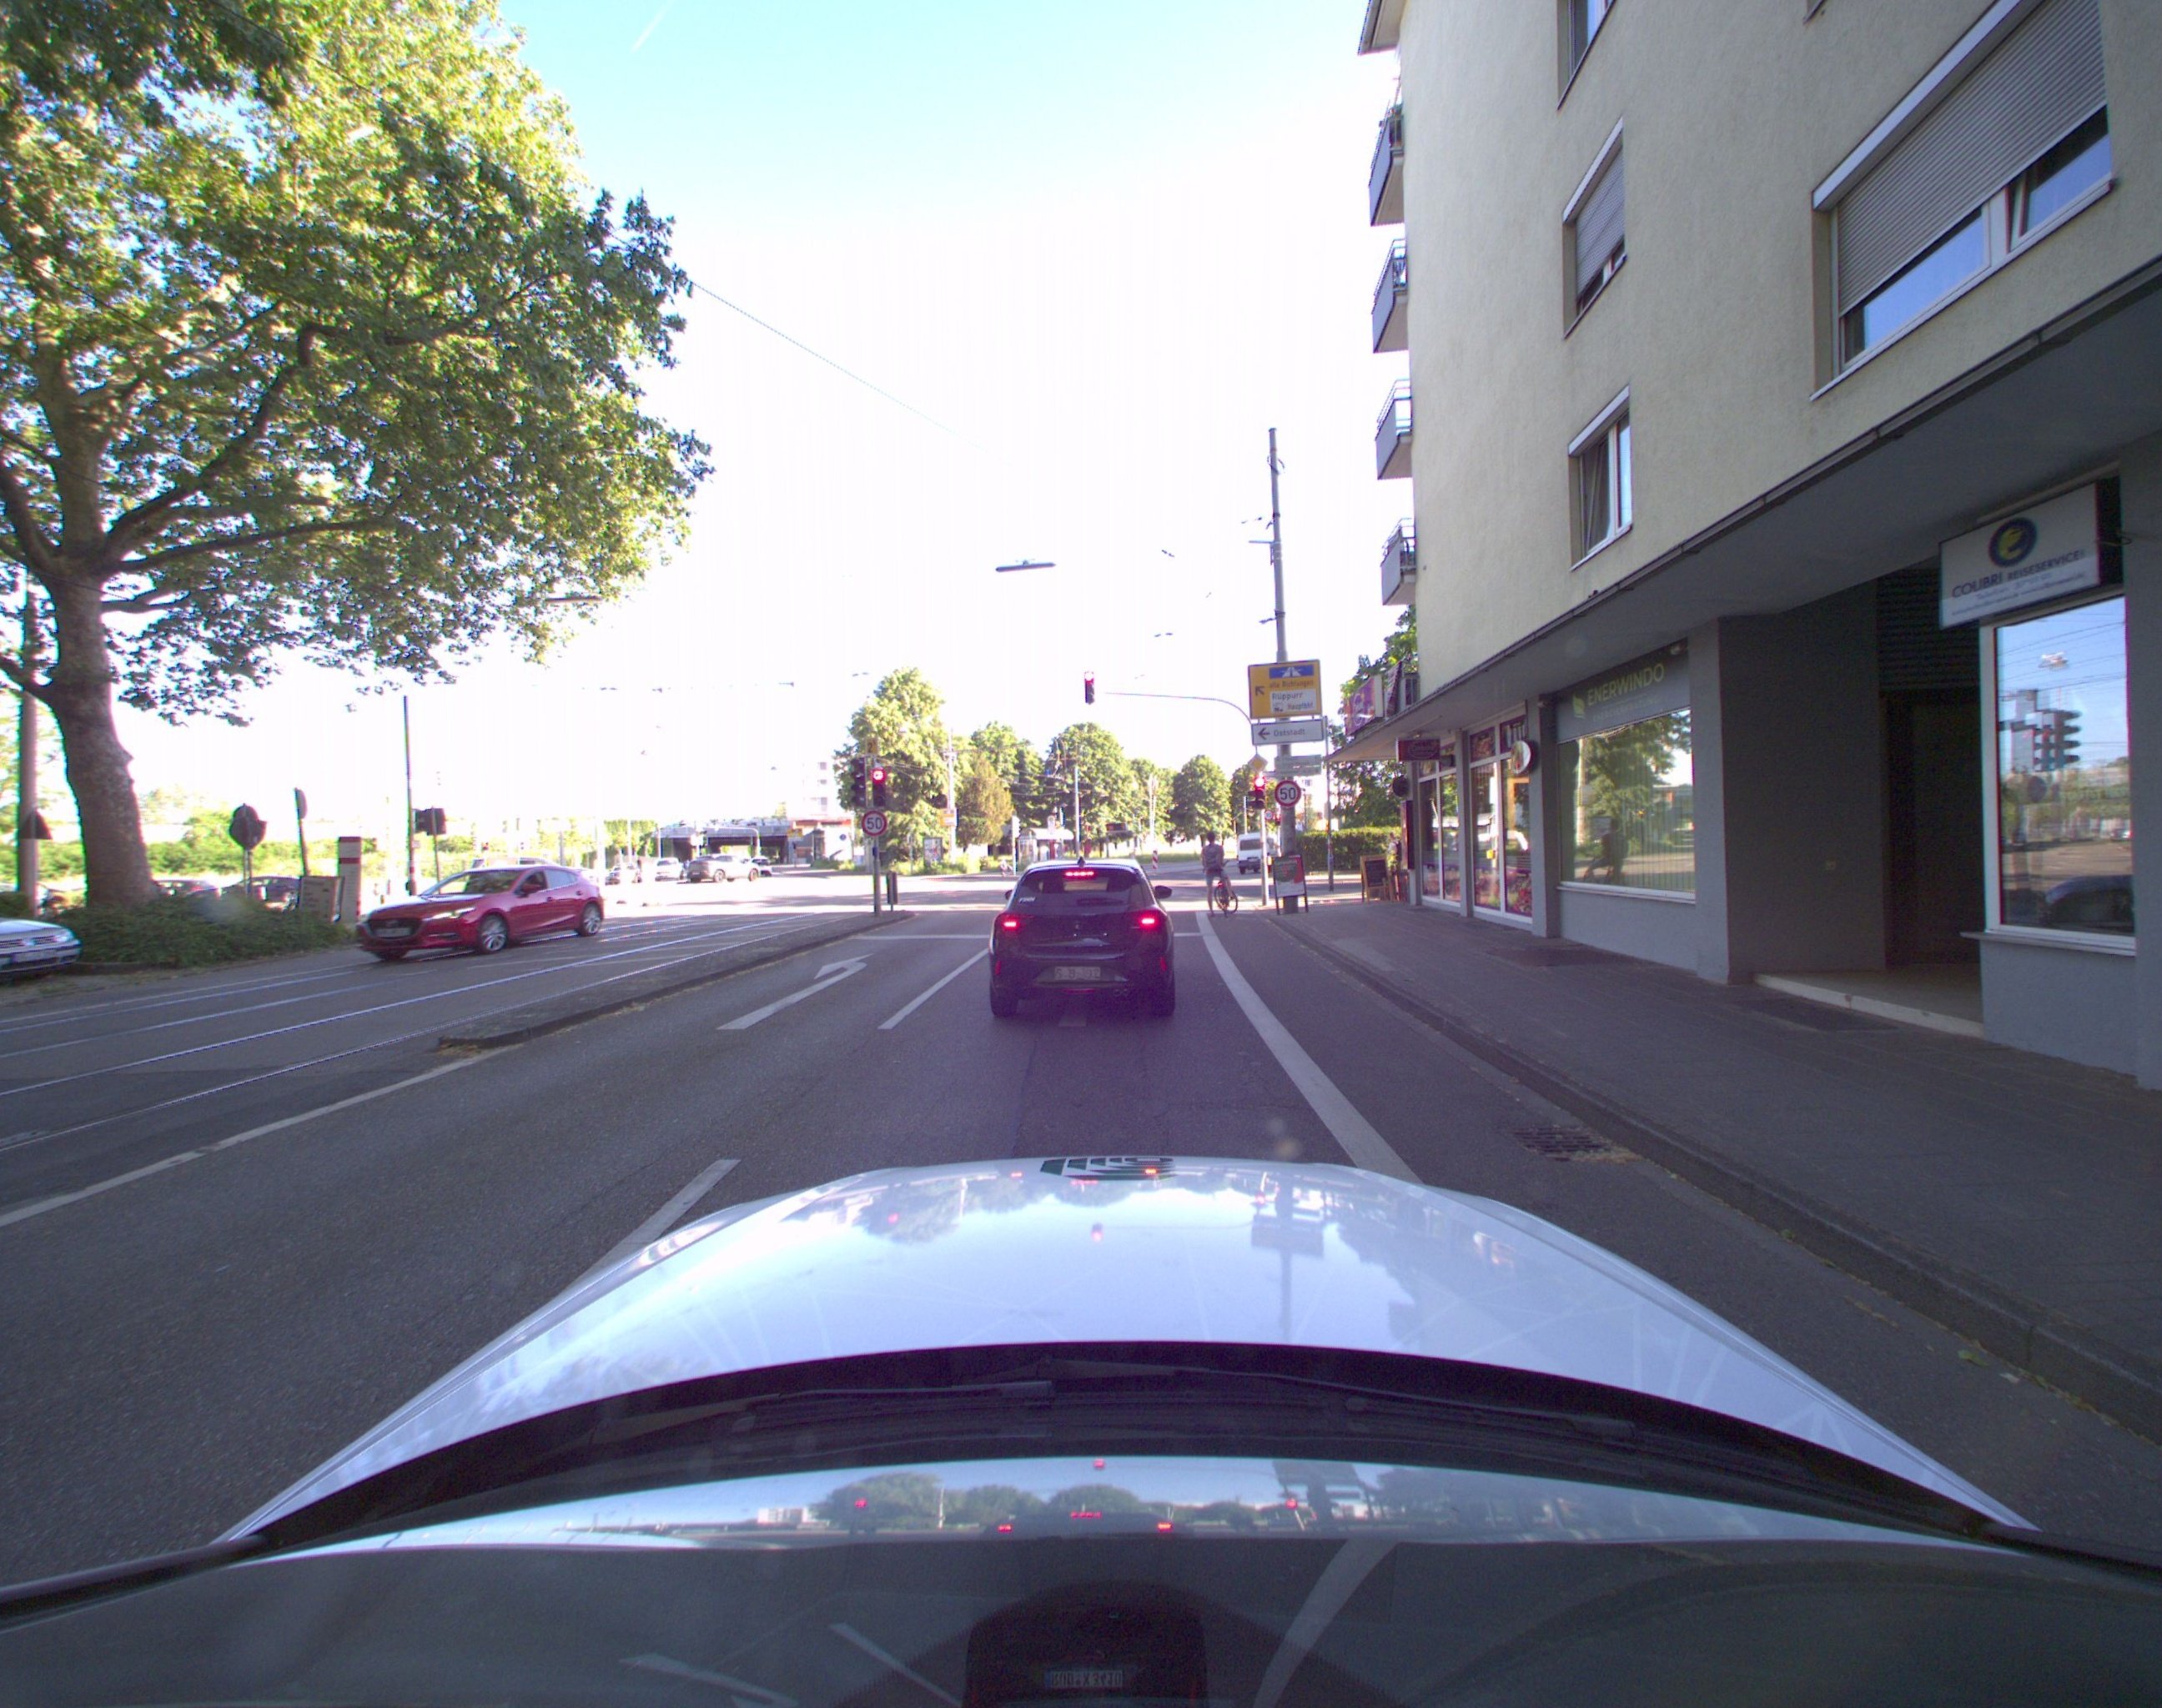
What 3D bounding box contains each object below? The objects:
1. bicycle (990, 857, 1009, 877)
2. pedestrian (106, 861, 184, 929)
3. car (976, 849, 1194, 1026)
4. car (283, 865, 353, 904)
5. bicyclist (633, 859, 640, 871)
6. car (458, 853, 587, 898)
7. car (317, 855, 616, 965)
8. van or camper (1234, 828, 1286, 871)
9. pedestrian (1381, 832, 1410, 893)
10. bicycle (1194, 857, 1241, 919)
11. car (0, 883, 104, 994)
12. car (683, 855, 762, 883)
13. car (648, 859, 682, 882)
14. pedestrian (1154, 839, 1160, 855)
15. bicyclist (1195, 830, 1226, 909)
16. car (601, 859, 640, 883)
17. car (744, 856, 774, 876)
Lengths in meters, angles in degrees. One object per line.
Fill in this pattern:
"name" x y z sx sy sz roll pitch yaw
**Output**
"bicycle" -4.635 0.745 46.544 0.793 1.064 2.186 -2 0 2
"pedestrian" -23.312 1.012 20.292 0.842 1.647 0.931 0 -1 1
"car" 0.098 0.700 8.920 1.833 1.462 3.985 -1 0 2
"car" -36.352 1.389 38.887 1.608 1.701 3.607 -2 0 -30
"bicyclist" -48.663 1.208 89.162 0.528 1.222 0.526 -1 0 -23
"car" -26.286 0.975 38.533 4.865 1.881 1.895 -2 0 -33
"car" -10.550 0.846 14.538 2.011 1.565 4.488 -1 0 -2
"van or camper" 10.184 -0.220 46.173 2.011 2.310 4.565 -1 -1 23
"pedestrian" 9.082 0.246 23.521 0.630 1.763 0.583 0 -1 4
"bicycle" 3.026 0.715 17.932 0.747 1.235 2.024 -2 0 16
"car" -16.624 1.191 11.332 3.957 1.453 1.670 -1 0 -1
"car" -20.525 0.858 46.794 1.783 1.519 4.225 -1 -1 18
"car" -30.404 1.175 59.607 1.892 1.585 3.809 0 -1 -21
"pedestrian" 9.355 -0.847 100.101 0.608 1.872 0.513 0 -1 -38
"bicyclist" 2.817 0.331 17.748 0.529 1.692 0.571 -2 0 19
"car" -32.682 1.178 57.881 1.892 1.585 3.809 0 -1 -21
"car" -25.507 0.947 64.378 2.000 1.552 4.162 0 -1 -25
